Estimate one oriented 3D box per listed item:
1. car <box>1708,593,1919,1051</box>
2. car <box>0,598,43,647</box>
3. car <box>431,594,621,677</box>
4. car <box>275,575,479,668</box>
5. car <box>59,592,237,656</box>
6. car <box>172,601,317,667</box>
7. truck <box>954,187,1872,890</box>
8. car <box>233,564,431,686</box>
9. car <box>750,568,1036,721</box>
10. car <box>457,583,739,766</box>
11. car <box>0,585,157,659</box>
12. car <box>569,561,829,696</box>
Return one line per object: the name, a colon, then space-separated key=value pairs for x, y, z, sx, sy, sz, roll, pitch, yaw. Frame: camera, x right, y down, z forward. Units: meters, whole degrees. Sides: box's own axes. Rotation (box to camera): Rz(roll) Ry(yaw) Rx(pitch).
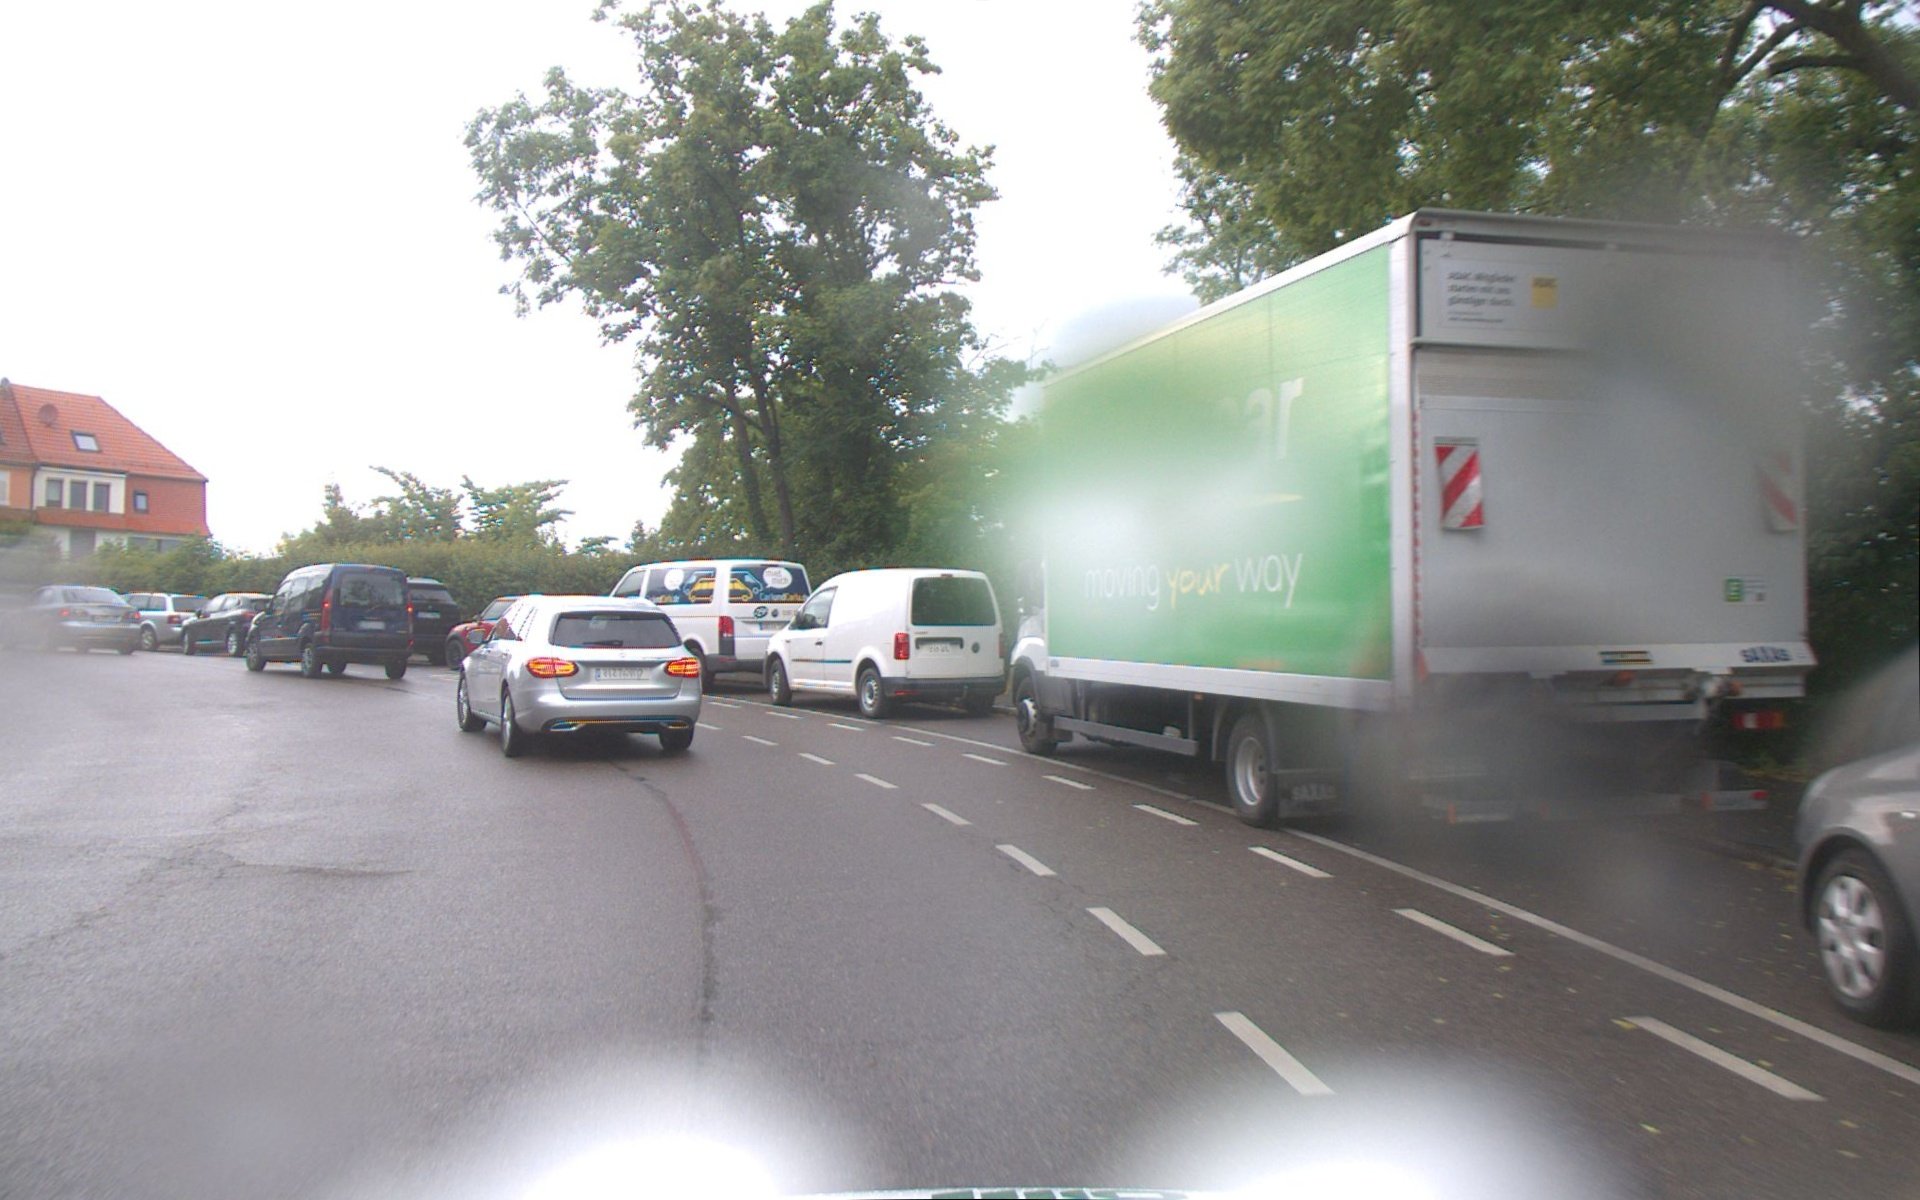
car: x=4.137 y=0.748 z=4.890 sx=1.700 sy=1.529 sz=4.131 roll=-1 pitch=0 yaw=-5
car: x=-30.199 y=0.641 z=51.251 sx=4.526 sy=1.430 sz=1.708 roll=1 pitch=-3 yaw=42
car: x=-8.236 y=0.655 z=31.281 sx=3.674 sy=1.439 sz=1.667 roll=1 pitch=-1 yaw=41
car: x=-12.382 y=0.428 z=34.977 sx=4.813 sy=1.814 sz=2.020 roll=1 pitch=-2 yaw=43
car: x=-21.019 y=0.603 z=42.795 sx=4.539 sy=1.465 sz=1.802 roll=1 pitch=-2 yaw=29
car: x=-16.704 y=0.782 z=38.523 sx=3.914 sy=1.447 sz=1.682 roll=0 pitch=-3 yaw=44
truck: x=2.480 y=-0.350 z=12.978 sx=2.729 sy=3.531 sz=8.894 roll=-1 pitch=0 yaw=-16
car: x=-10.706 y=0.386 z=28.065 sx=1.815 sy=1.915 sz=4.032 roll=-1 pitch=0 yaw=-42
car: x=-1.001 y=0.517 z=21.775 sx=1.843 sy=1.801 sz=4.329 roll=1 pitch=0 yaw=-33
car: x=-3.783 y=0.643 z=16.674 sx=1.957 sy=1.581 sz=4.265 roll=0 pitch=0 yaw=-24
car: x=-19.149 y=0.487 z=35.803 sx=4.024 sy=1.484 sz=1.848 roll=-2 pitch=0 yaw=43
car: x=-4.303 y=0.411 z=26.702 sx=1.851 sy=1.982 sz=4.732 roll=1 pitch=0 yaw=-43
